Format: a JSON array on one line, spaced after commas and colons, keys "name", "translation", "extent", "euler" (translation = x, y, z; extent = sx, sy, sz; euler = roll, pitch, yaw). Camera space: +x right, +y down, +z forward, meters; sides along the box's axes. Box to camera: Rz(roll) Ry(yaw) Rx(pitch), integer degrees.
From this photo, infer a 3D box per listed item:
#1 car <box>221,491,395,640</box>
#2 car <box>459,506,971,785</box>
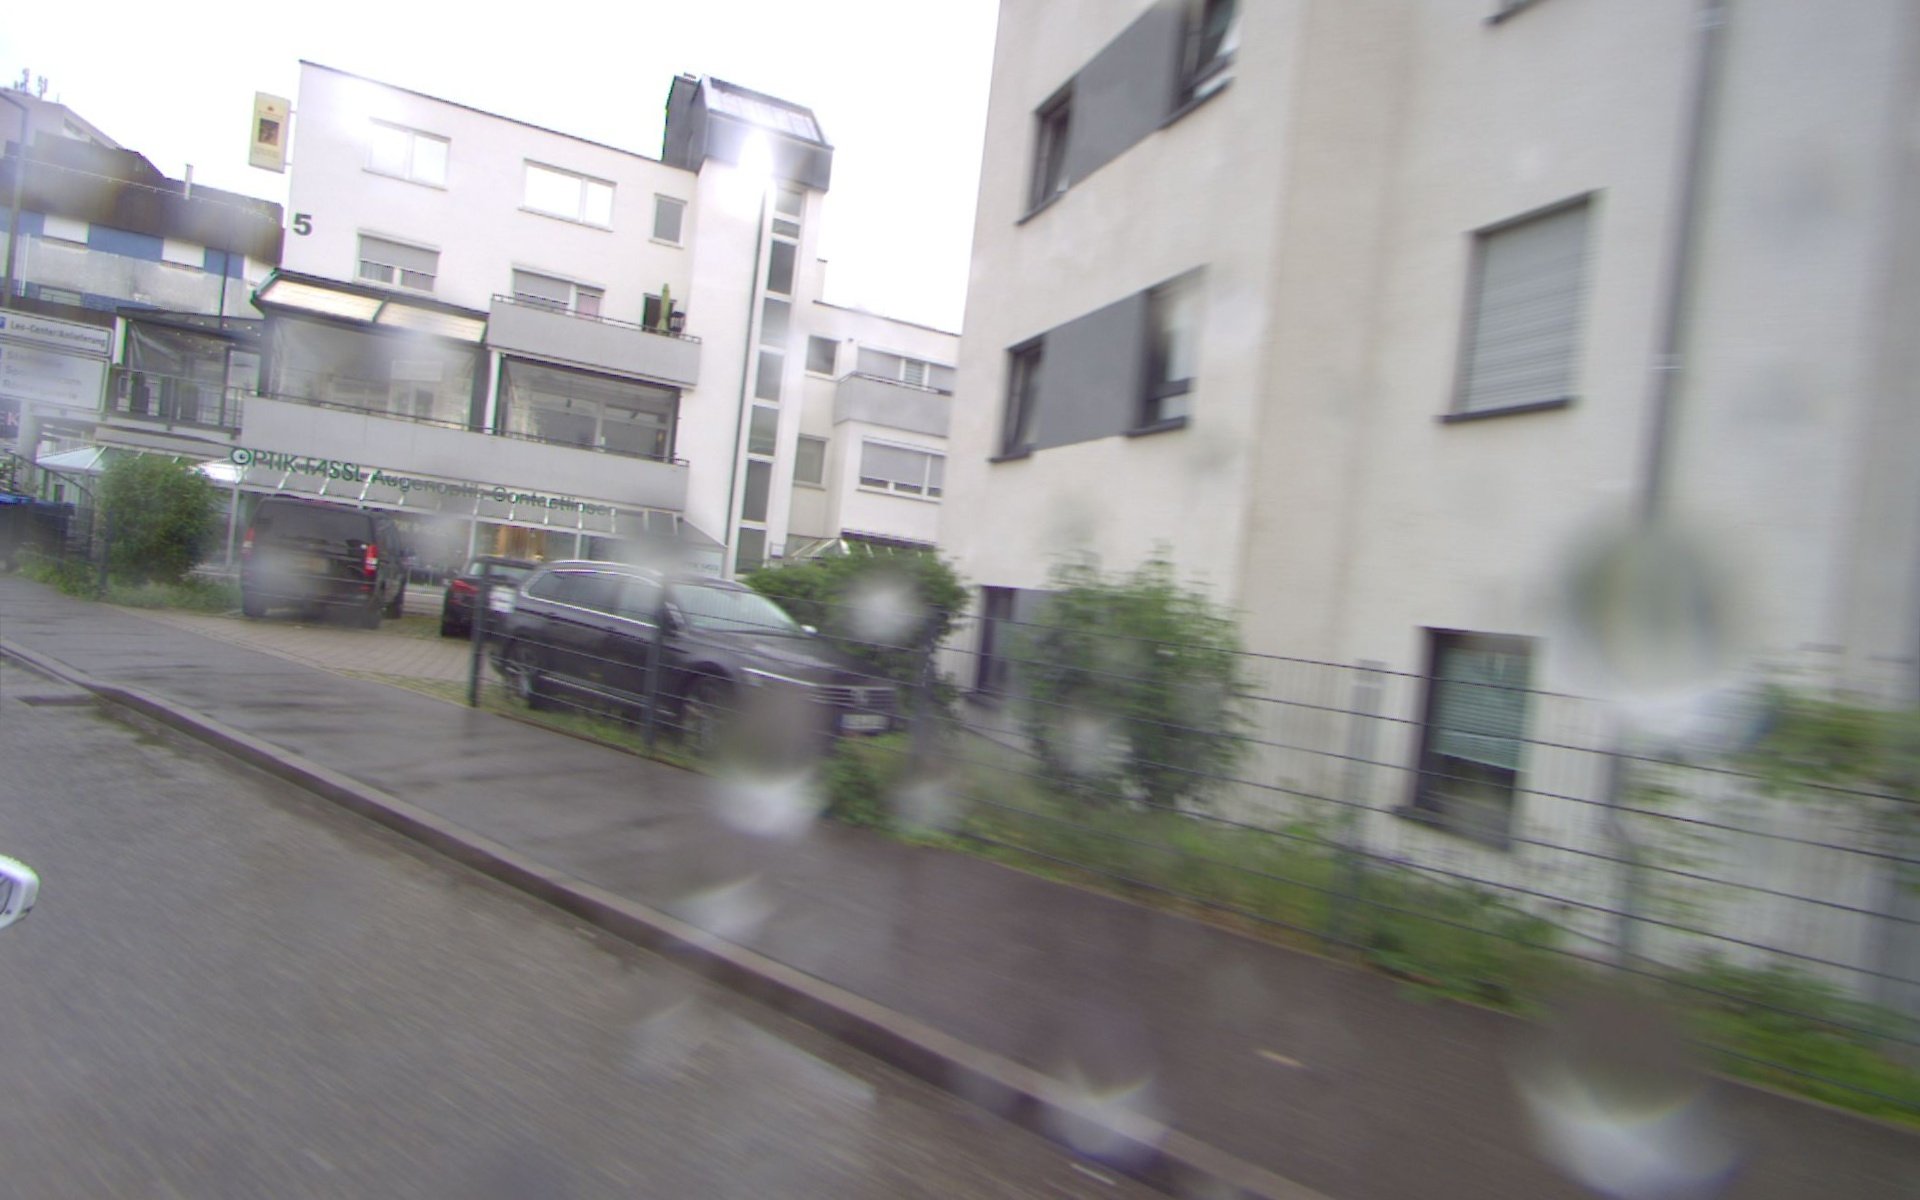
[{"name": "car", "translation": [-11.093, -0.621, 17.450], "extent": [1.977, 2.039, 4.744], "euler": [6, 0, -28]}, {"name": "car", "translation": [-2.423, 0.269, 9.345], "extent": [4.618, 1.808, 1.993], "euler": [7, 1, 36]}]
